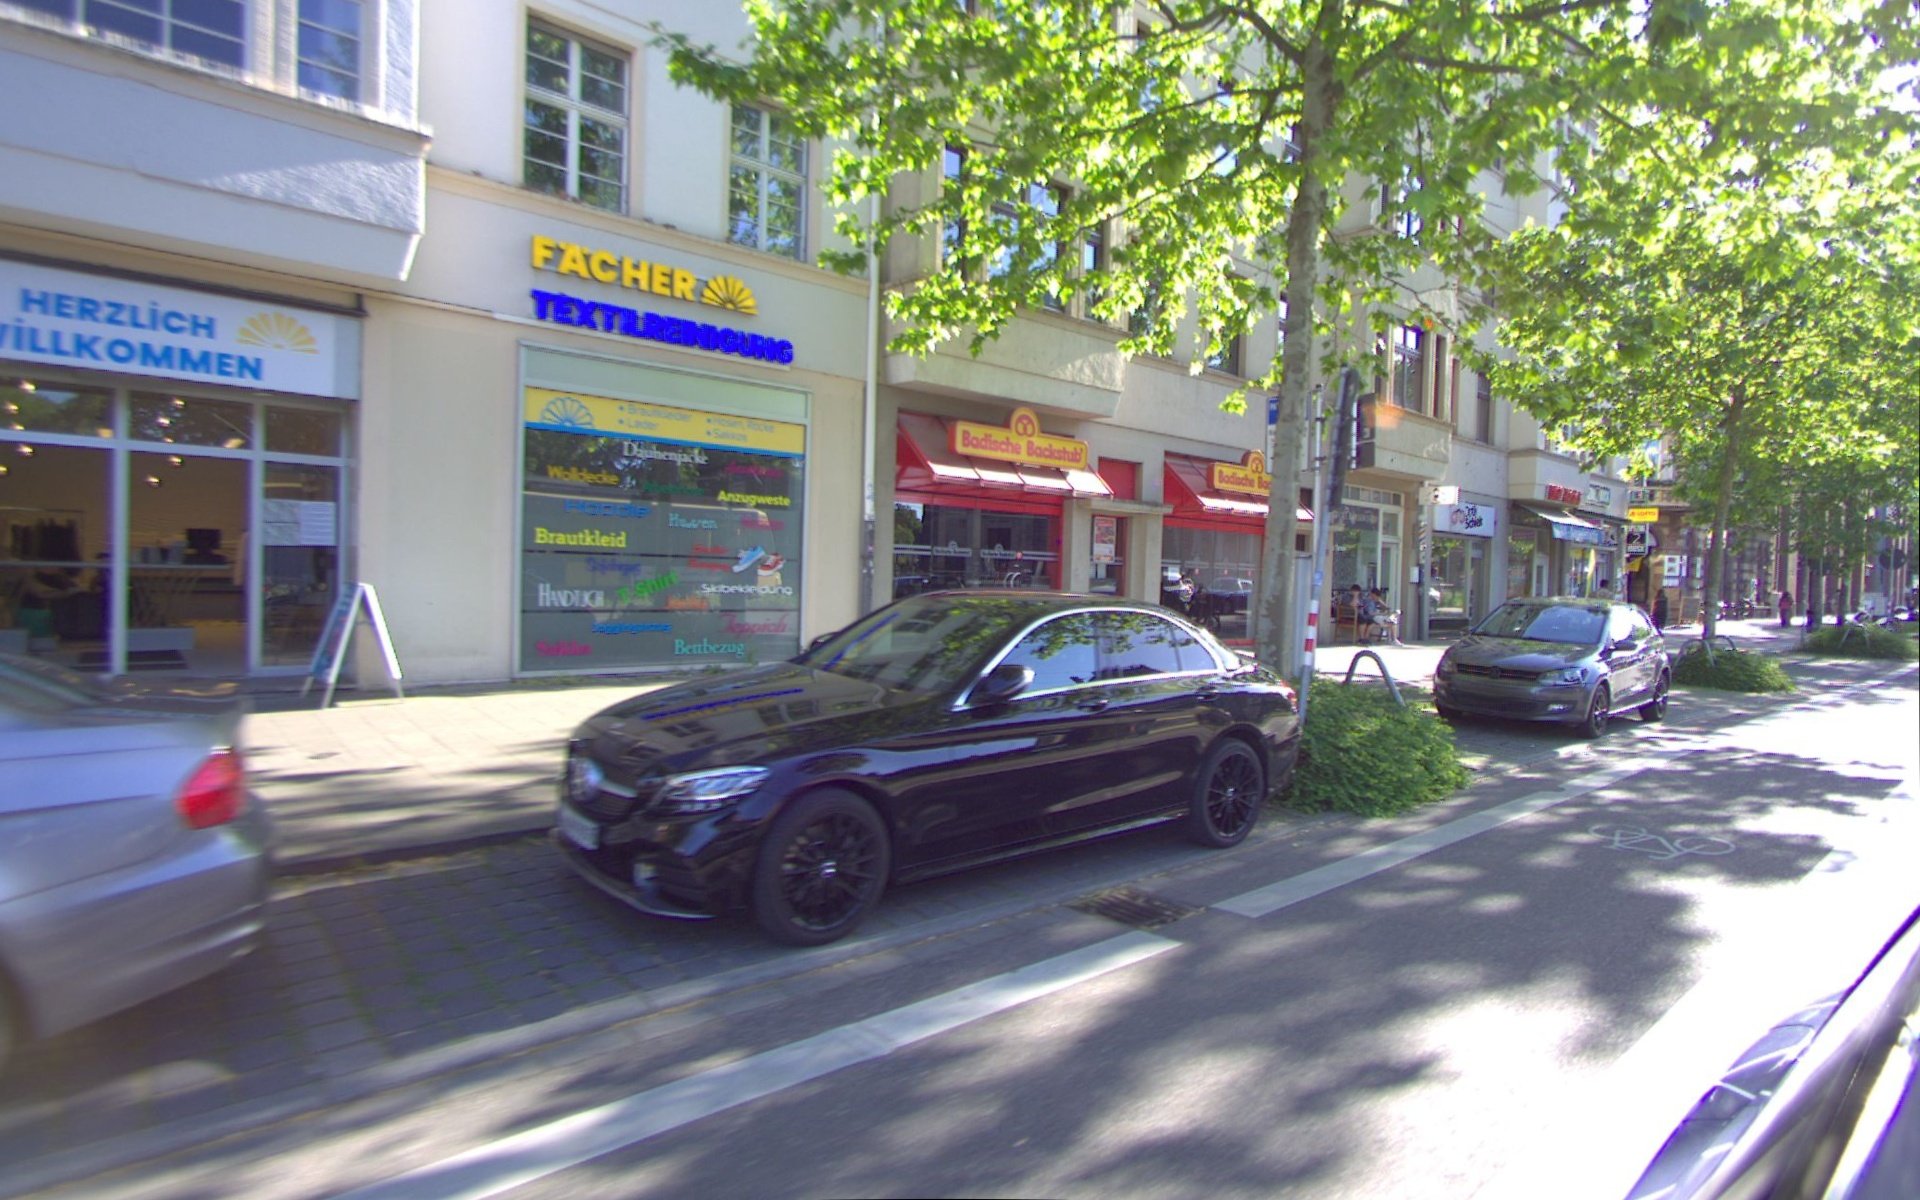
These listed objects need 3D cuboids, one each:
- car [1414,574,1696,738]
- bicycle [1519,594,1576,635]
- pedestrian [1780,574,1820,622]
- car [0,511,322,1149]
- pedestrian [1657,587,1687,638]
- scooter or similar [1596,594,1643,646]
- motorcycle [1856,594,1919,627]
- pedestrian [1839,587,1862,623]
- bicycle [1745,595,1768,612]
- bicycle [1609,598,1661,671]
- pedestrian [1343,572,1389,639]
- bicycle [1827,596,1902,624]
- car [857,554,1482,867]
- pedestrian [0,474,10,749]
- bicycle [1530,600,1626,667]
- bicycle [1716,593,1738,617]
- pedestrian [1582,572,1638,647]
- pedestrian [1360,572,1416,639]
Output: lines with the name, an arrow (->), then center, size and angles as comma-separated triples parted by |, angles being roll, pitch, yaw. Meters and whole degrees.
car -> 7.049, 0.545, 11.861 | 3.735, 1.520, 1.698 | 0, 4, -41
bicycle -> 15.965, 0.366, 27.456 | 2.577, 1.036, 0.491 | 0, 4, -42
pedestrian -> 36.922, -0.105, 44.486 | 1.027, 2.038, 1.090 | 0, 2, -40
car -> -4.077, 0.559, 2.181 | 4.358, 1.575, 1.792 | 0, 1, -41
pedestrian -> 22.950, 0.388, 32.613 | 0.553, 1.642, 0.682 | 0, 0, -43
scooter or similar -> 16.235, 0.479, 24.911 | 0.835, 1.186, 0.745 | 0, 4, -44
motorcycle -> 36.516, 0.397, 39.737 | 0.507, 1.246, 1.951 | 0, 0, -43
pedestrian -> 45.095, 0.247, 51.250 | 0.878, 1.850, 0.645 | 0, 0, -33
bicycle -> 39.544, 0.159, 50.243 | 1.634, 0.783, 0.550 | 0, 4, -42
bicycle -> 12.515, 0.610, 18.745 | 0.392, 1.229, 1.873 | 4, 4, 45
pedestrian -> 8.469, 0.110, 21.126 | 0.806, 1.348, 0.536 | 0, 3, -41
bicycle -> 36.522, 0.395, 40.891 | 0.447, 1.107, 2.227 | 0, 0, -39
car -> 1.710, 0.505, 7.206 | 4.514, 1.528, 2.042 | 0, 2, -41
pedestrian -> -6.507, 0.069, 6.356 | 0.757, 1.732, 0.559 | 0, 0, -41
bicycle -> 11.598, 0.622, 18.995 | 1.834, 1.222, 0.387 | 0, 0, -16
bicycle -> 34.243, 0.215, 45.195 | 1.850, 1.010, 0.415 | 0, 1, -42
pedestrian -> 15.497, 0.211, 24.136 | 0.901, 1.725, 0.860 | 0, 3, -43
pedestrian -> 9.157, 0.105, 21.656 | 0.842, 1.386, 0.787 | 0, 2, -40
